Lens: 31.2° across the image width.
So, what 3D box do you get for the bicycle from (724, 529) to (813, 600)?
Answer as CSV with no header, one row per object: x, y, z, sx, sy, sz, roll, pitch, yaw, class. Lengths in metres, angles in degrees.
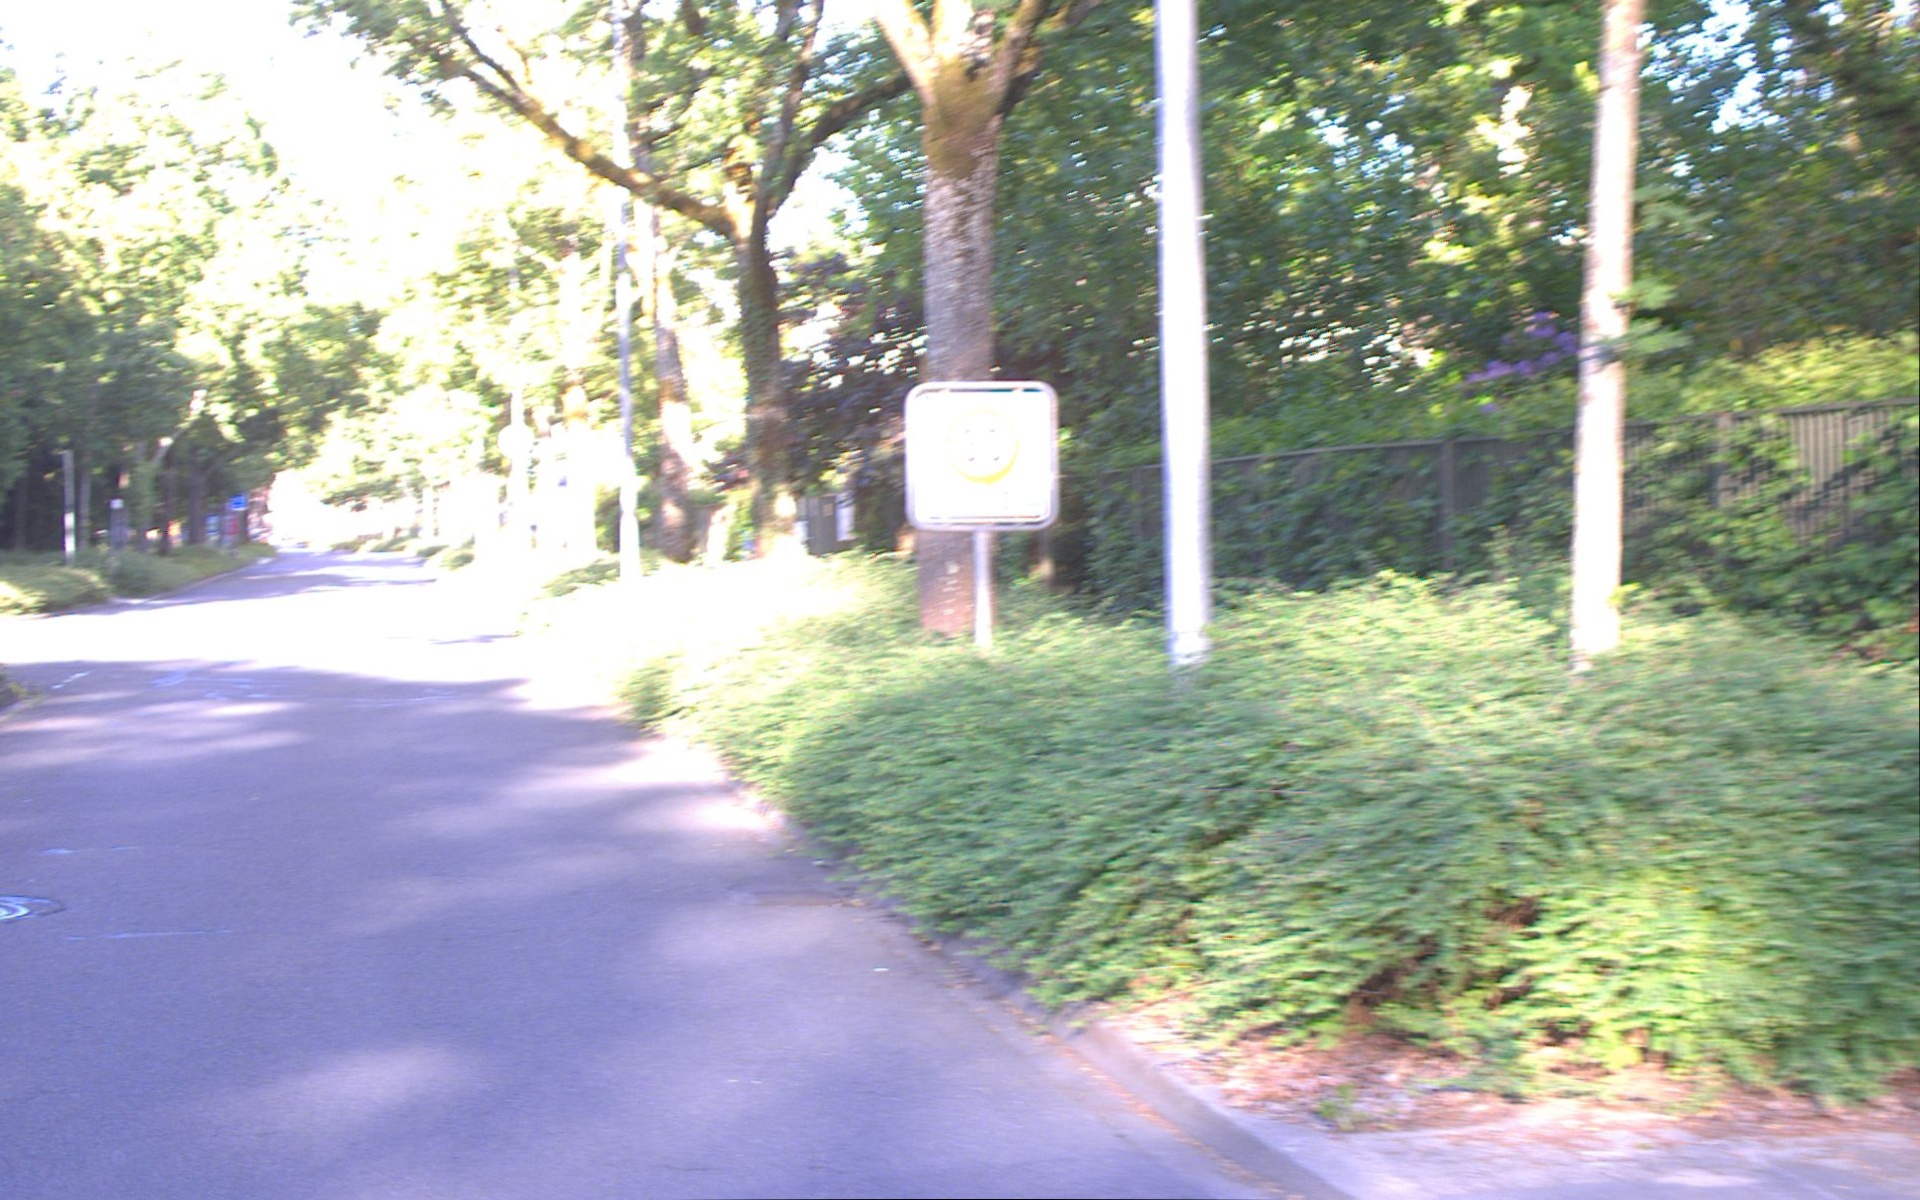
-3.542,-0.675,63.750,0.884,1.196,2.325,-3,2,16,bicycle
